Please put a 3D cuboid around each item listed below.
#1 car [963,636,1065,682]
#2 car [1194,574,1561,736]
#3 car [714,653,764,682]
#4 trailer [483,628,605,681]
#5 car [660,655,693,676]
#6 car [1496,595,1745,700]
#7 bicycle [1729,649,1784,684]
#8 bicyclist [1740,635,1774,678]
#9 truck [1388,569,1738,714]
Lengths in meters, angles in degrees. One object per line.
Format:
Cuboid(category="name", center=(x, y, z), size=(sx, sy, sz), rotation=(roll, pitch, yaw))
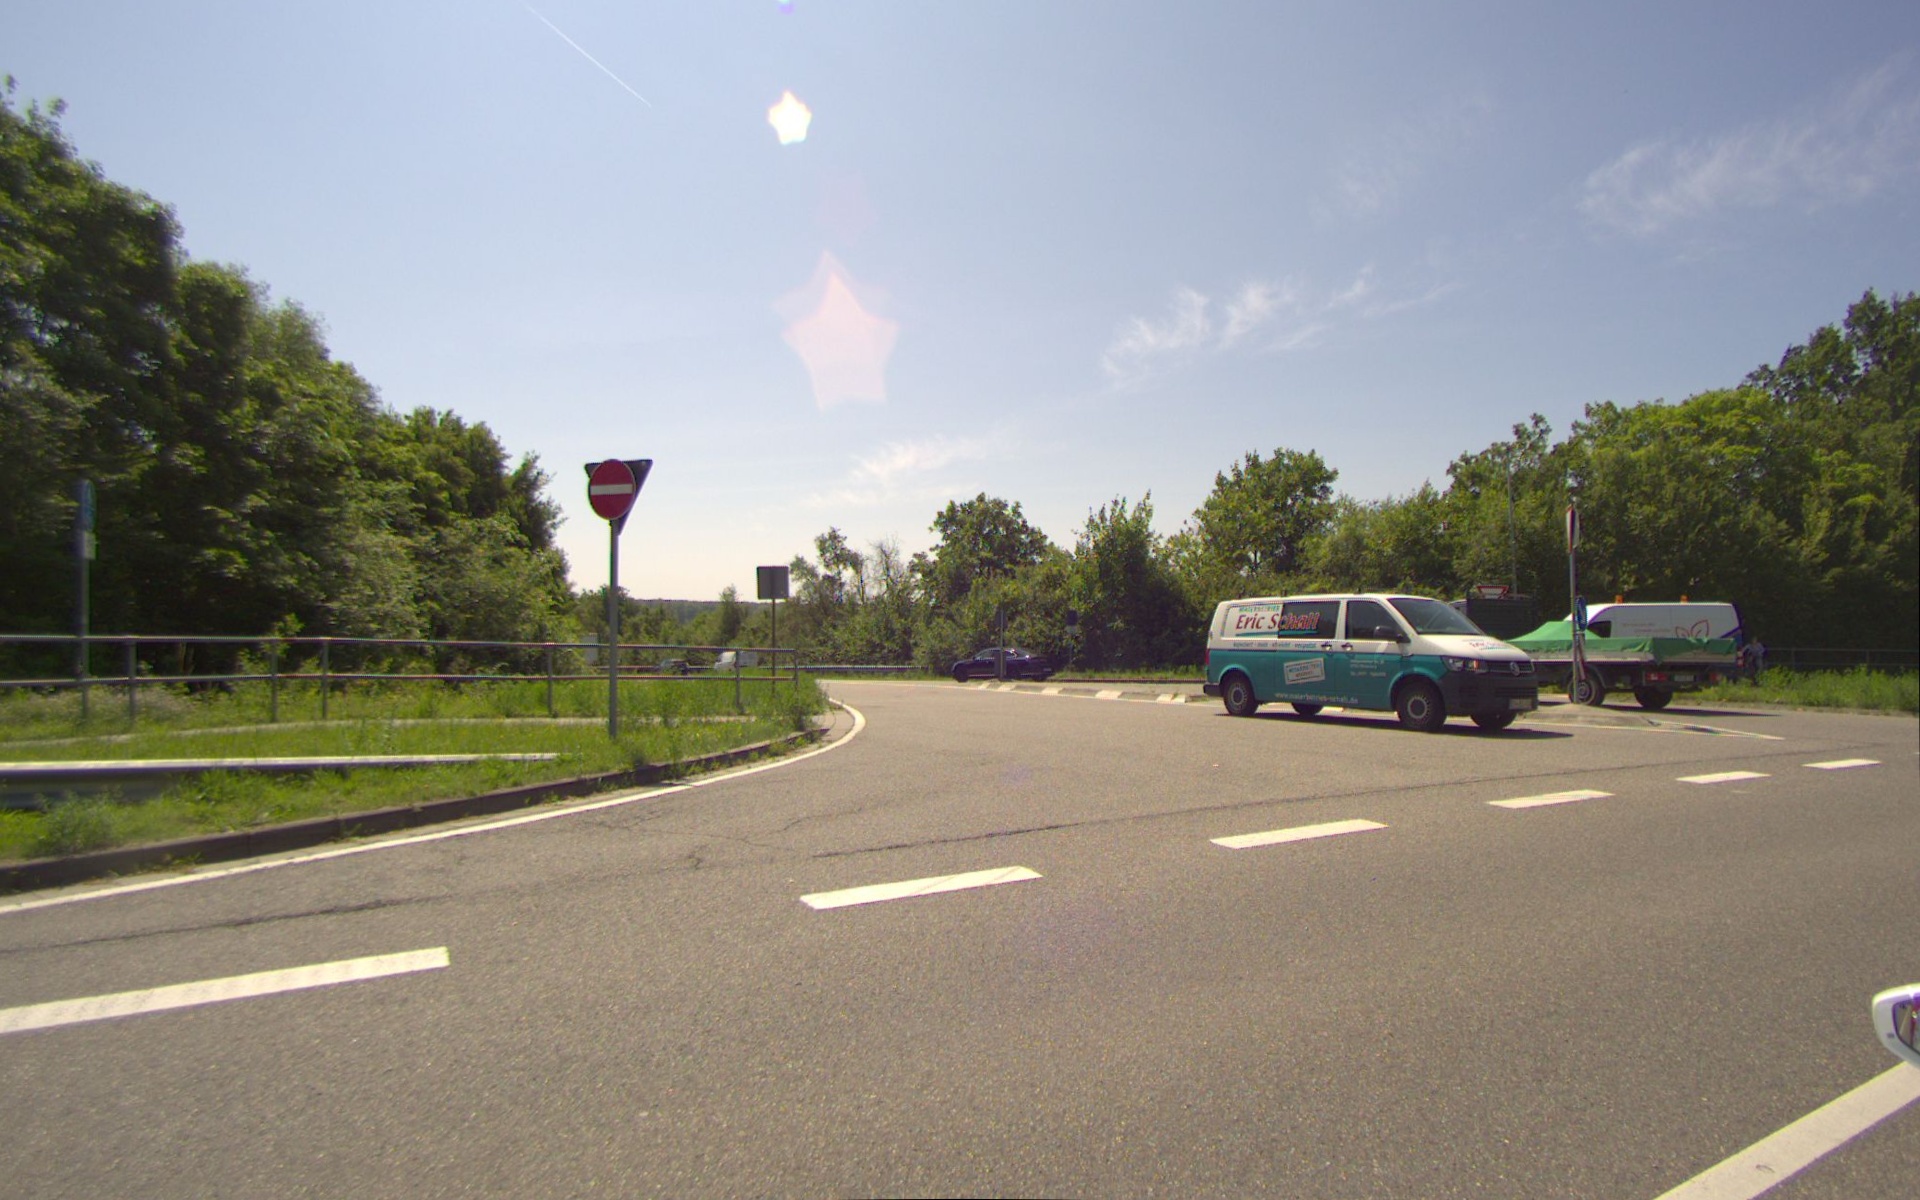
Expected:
Cuboid(category="car", center=(2.134, 2.328, 40.238), size=(3.944, 1.684, 1.668), rotation=(-1, -2, 43))
Cuboid(category="car", center=(6.119, 0.819, 15.521), size=(1.975, 2.054, 5.150), rotation=(1, -3, -28))
Cuboid(category="car", center=(-15.396, 4.673, 69.812), size=(1.992, 1.948, 5.156), rotation=(1, -4, -29))
Cuboid(category="trailer", center=(-39.396, 5.012, 94.844), size=(13.545, 4.333, 2.993), rotation=(1, 0, 30))
Cuboid(category="car", center=(-23.279, 5.339, 82.263), size=(1.749, 1.616, 3.899), rotation=(1, -3, -29))
Cuboid(category="car", center=(19.806, 1.374, 30.410), size=(5.889, 2.888, 2.113), rotation=(1, 0, 9))
Cuboid(category="bicycle", center=(26.685, 2.233, 33.651), size=(1.452, 1.128, 0.437), rotation=(1, -1, 3))
Cuboid(category="bicyclist", center=(26.698, 1.881, 33.661), size=(0.597, 1.381, 0.690), rotation=(0, 0, 4))
Cuboid(category="truck", center=(12.354, 0.936, 21.415), size=(2.112, 2.598, 6.614), rotation=(1, -3, -18))
